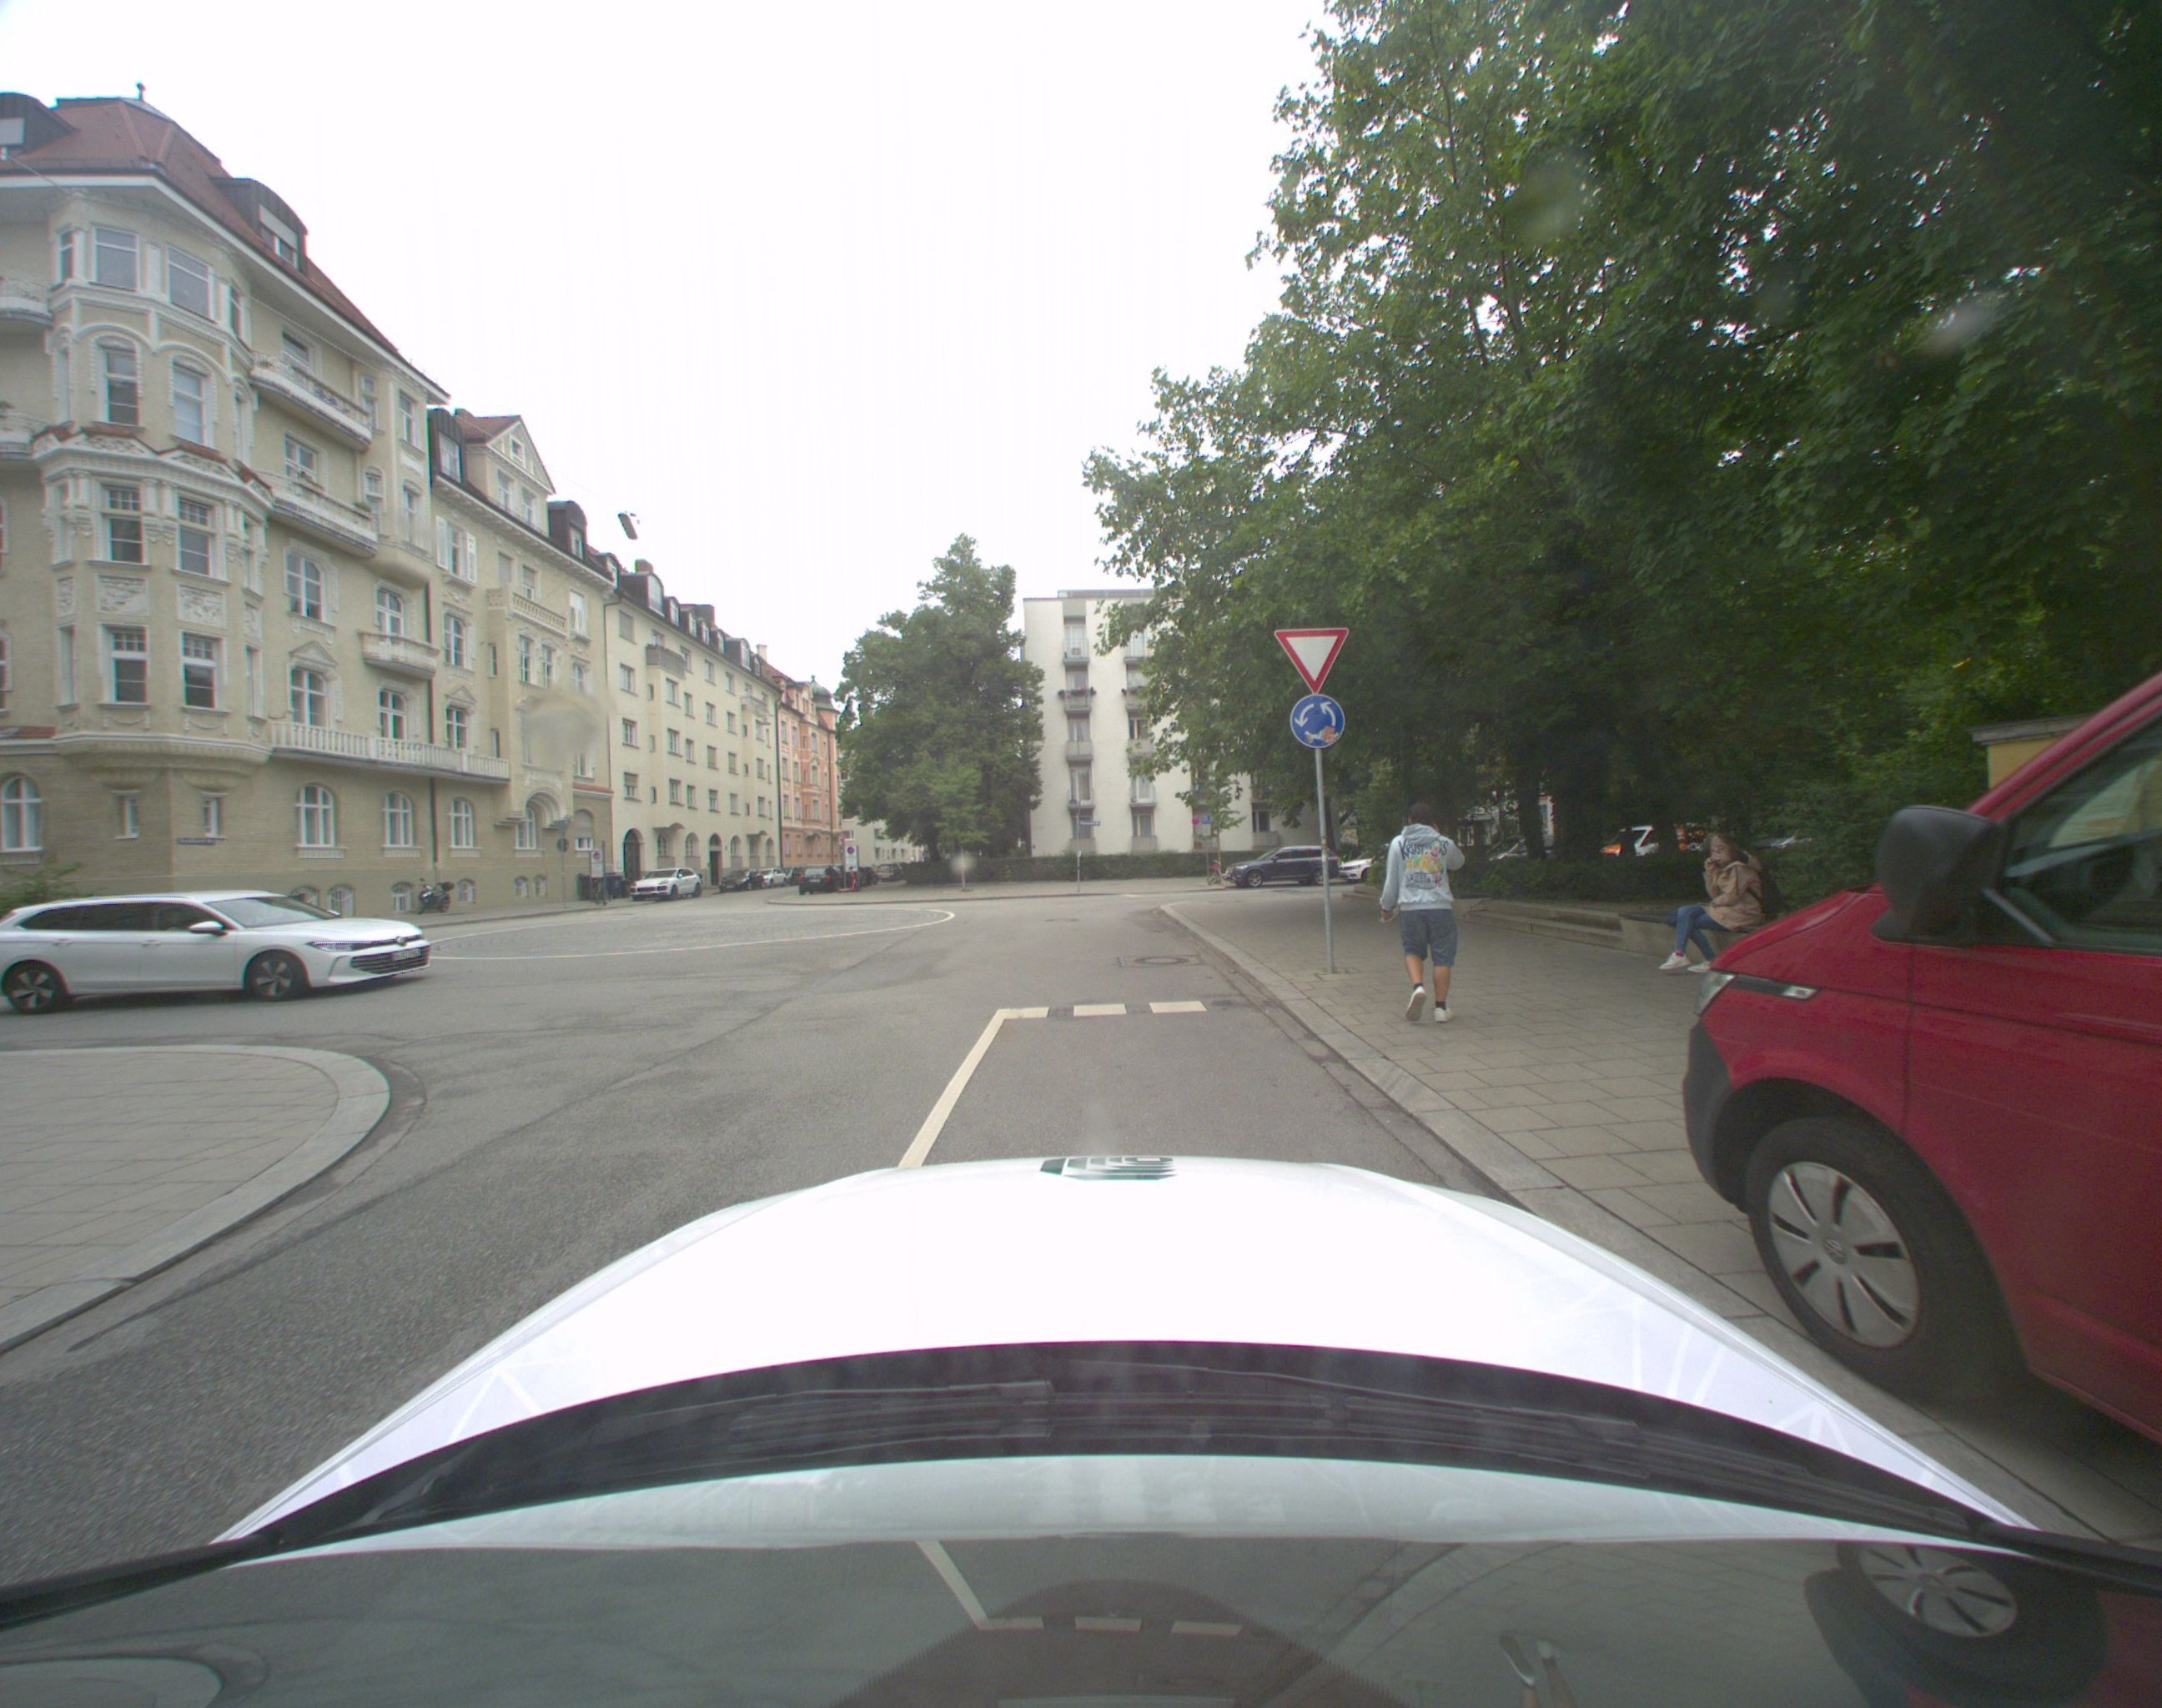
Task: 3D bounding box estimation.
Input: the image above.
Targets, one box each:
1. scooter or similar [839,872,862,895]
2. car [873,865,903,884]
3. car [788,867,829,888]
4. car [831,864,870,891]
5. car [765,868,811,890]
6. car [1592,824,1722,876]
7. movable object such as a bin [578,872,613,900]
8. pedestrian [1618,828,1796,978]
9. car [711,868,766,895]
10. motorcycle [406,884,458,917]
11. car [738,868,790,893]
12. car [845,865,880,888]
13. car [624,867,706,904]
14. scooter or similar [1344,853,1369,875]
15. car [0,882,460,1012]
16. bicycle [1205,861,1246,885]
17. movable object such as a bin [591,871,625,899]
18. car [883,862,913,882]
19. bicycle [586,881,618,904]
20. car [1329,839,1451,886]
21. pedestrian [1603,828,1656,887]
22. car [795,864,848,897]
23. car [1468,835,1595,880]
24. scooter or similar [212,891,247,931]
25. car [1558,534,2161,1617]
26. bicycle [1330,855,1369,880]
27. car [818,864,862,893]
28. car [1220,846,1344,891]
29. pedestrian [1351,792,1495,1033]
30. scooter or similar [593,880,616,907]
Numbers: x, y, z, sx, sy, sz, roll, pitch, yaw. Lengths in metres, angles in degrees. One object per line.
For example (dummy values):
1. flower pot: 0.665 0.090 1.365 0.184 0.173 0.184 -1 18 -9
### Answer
1. scooter or similar: -11.366 1.432 40.092 1.005 1.088 0.387 -1 -1 -31
2. car: -16.356 1.719 69.261 1.833 1.505 4.107 -3 0 -6
3. car: -22.721 1.960 68.011 1.970 1.581 4.406 -2 0 -1
4. car: -14.796 1.473 52.461 1.792 1.505 4.104 -3 0 -8
5. car: -22.607 1.897 63.014 1.970 1.581 4.405 -2 0 -1
6. car: 27.730 -0.178 39.269 5.226 2.273 1.946 -2 -1 -10
7. movable object such as a bin: -25.428 1.662 42.656 1.088 1.425 1.173 -2 0 -1
8. pedestrian: 5.983 0.451 7.850 1.005 1.338 0.877 -2 -1 4
9. car: -22.181 1.746 52.981 1.973 1.616 4.703 -1 0 -6
10. motorcycle: -25.339 1.795 31.828 0.597 1.176 1.828 -2 0 -3
11. car: -22.437 1.829 57.853 1.970 1.581 4.405 -2 0 -1
12. car: -15.573 1.565 58.188 1.792 1.505 4.104 -3 0 -8
13. car: -21.539 1.600 42.449 1.971 1.701 4.834 -1 0 -3
14. scooter or similar: 15.210 0.543 44.966 1.209 1.193 0.399 -2 -1 -5
15. car: -12.025 1.233 11.495 4.868 1.448 1.887 -2 0 -6
16. bicycle: 6.784 0.907 38.266 1.827 1.049 0.489 -2 0 -14
17. movable object such as a bin: -25.442 1.665 43.853 1.088 1.425 1.173 -2 0 -1
18. car: -16.567 1.618 73.866 1.830 1.634 4.112 -3 0 -2
19. bicycle: -23.482 1.875 39.967 0.561 1.049 1.828 -2 0 -3
20. car: 13.912 0.370 36.803 4.831 1.918 1.830 -2 -1 -9
21. pedestrian: 17.483 0.105 25.981 1.048 1.831 0.874 -2 -1 -9
22. car: -13.516 1.330 42.713 1.817 1.505 4.410 -3 0 -8
23. car: 20.912 0.168 37.860 5.195 1.933 1.885 -2 -1 -12
24. scooter or similar: -24.895 1.648 23.814 0.470 1.115 1.202 -1 -1 -35
25. car: 2.843 0.383 0.818 1.868 1.920 4.887 -1 0 0
26. bicycle: 12.795 0.660 38.844 0.539 1.149 1.813 -2 0 -30
27. car: -14.132 1.402 47.928 1.792 1.505 4.223 -3 0 -8
28. car: 8.815 0.642 35.960 4.893 1.792 1.995 -2 -1 -8
29. pedestrian: 2.818 0.437 6.667 0.865 1.771 1.059 -2 -1 32
30. scooter or similar: -21.774 1.806 37.219 1.199 1.193 0.471 -2 -1 36
